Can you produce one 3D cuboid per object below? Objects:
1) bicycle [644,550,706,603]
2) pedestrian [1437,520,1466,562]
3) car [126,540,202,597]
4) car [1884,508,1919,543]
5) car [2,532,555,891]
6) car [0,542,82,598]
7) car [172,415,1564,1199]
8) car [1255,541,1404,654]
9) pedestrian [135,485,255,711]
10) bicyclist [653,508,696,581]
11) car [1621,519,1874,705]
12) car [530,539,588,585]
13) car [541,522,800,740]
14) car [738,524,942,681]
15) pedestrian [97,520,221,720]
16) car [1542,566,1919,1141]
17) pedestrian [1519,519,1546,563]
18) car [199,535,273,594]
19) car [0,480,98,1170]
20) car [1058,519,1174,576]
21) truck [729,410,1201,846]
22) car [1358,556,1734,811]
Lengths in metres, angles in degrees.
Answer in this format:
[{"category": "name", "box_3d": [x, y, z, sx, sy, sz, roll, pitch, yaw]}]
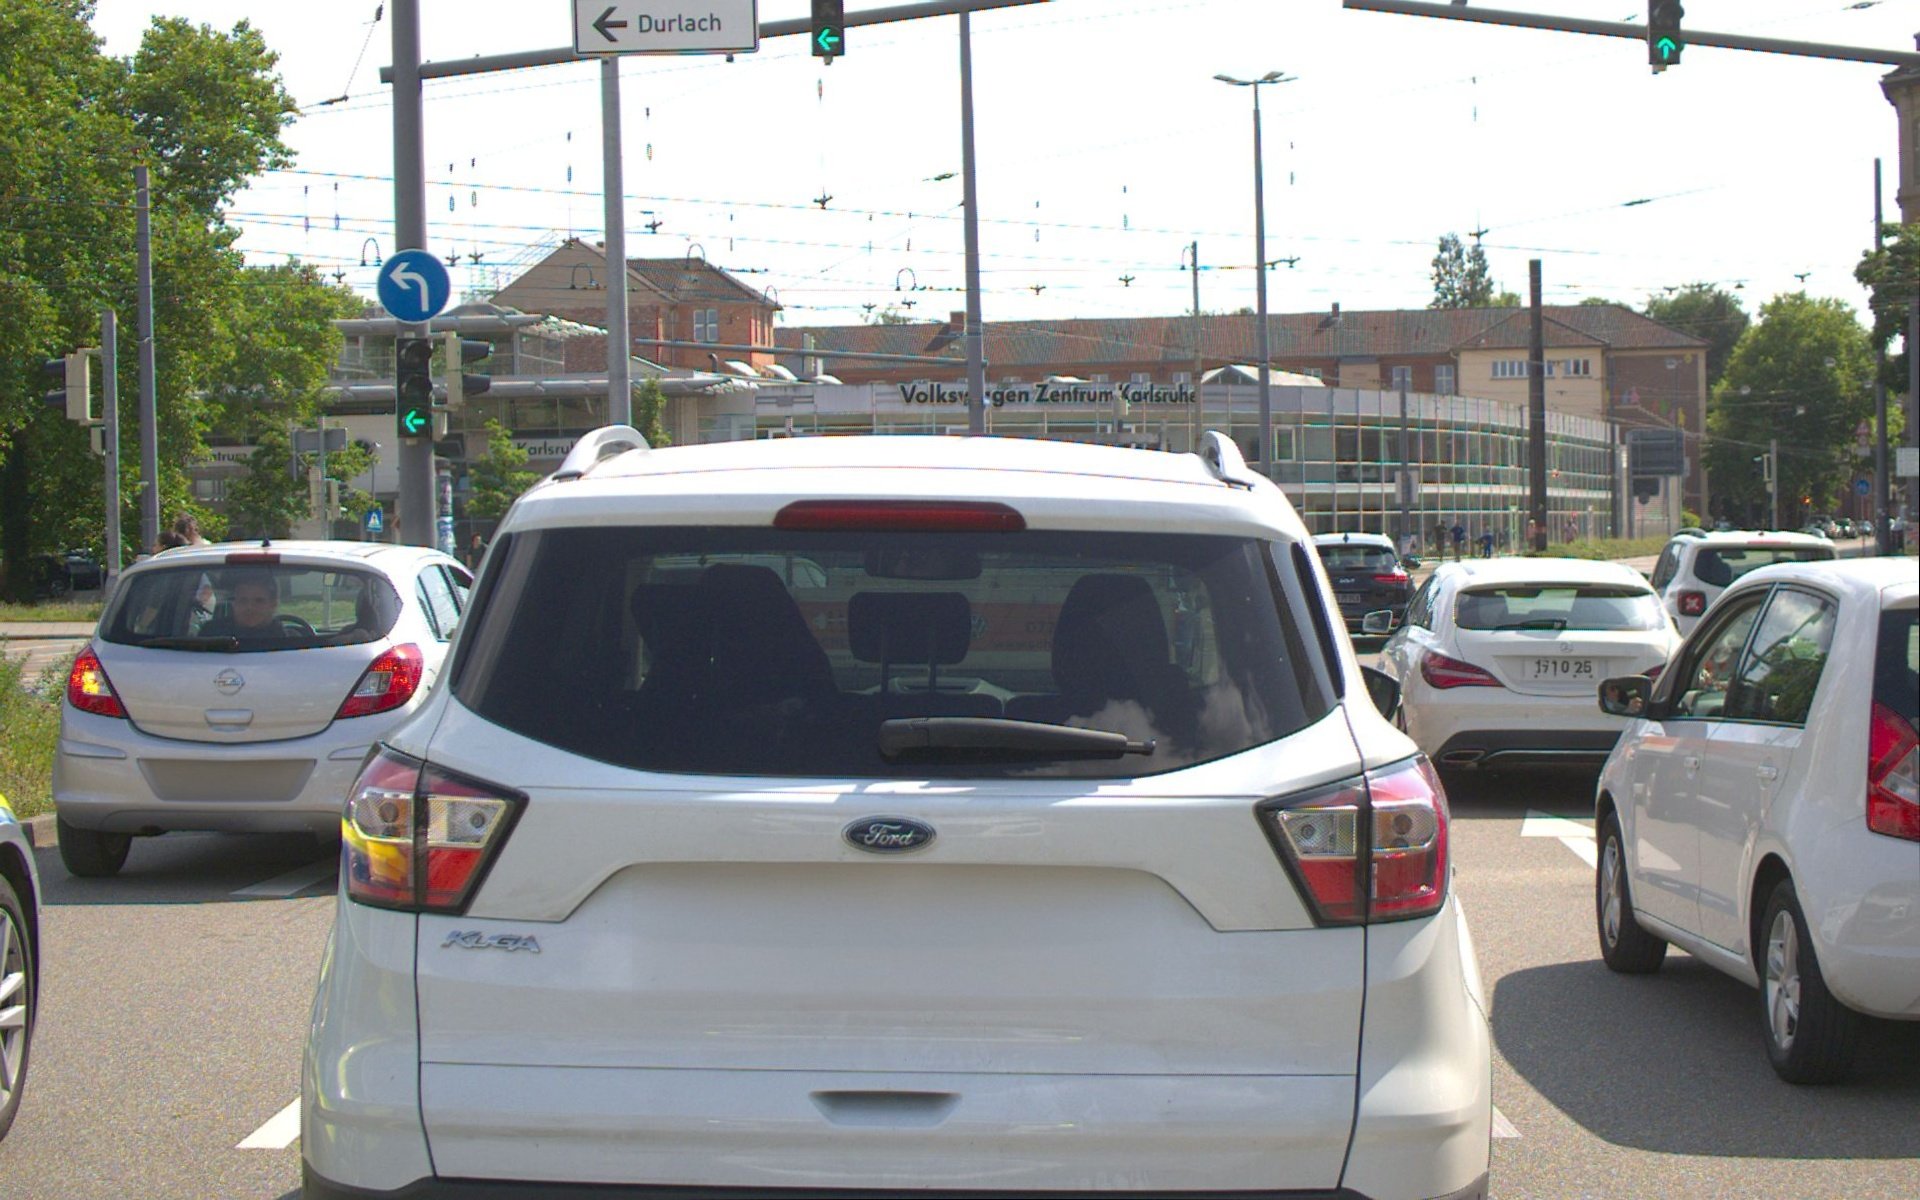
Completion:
[{"category": "bicycle", "box_3d": [-6.663, -0.561, 80.442, 0.760, 1.188, 2.149, -2, 1, 14]}, {"category": "pedestrian", "box_3d": [20.594, -2.472, 144.106, 0.877, 1.731, 0.874, 1, 0, 35]}, {"category": "car", "box_3d": [-28.667, -1.122, 123.879, 1.967, 1.930, 4.231, -3, 0, -5]}, {"category": "car", "box_3d": [46.539, -3.650, 168.953, 1.838, 1.646, 3.996, 0, 0, 20]}, {"category": "car", "box_3d": [-3.069, 0.431, 16.291, 1.848, 1.469, 4.000, -1, 1, -1]}, {"category": "car", "box_3d": [-33.333, -1.065, 124.116, 1.967, 1.930, 5.069, -3, 0, -1]}, {"category": "car", "box_3d": [-0.028, 0.560, 6.490, 1.827, 1.658, 3.955, 0, 1, 3]}, {"category": "car", "box_3d": [4.840, -0.063, 44.884, 1.850, 1.414, 3.678, 0, 1, 7]}, {"category": "pedestrian", "box_3d": [-6.598, -0.018, 29.671, 0.847, 1.910, 0.692, -1, 0, -1]}, {"category": "bicyclist", "box_3d": [-6.681, -1.303, 80.499, 0.760, 1.677, 0.760, -2, 1, 14]}, {"category": "car", "box_3d": [7.340, 0.089, 32.381, 1.837, 1.646, 3.999, 0, 0, 6]}, {"category": "car", "box_3d": [-14.216, -1.332, 121.971, 1.818, 1.528, 3.917, -3, 0, -5]}, {"category": "car", "box_3d": [-2.209, 0.193, 27.233, 1.762, 1.563, 4.527, -1, 1, -1]}, {"category": "car", "box_3d": [-1.293, -0.011, 36.635, 2.039, 1.573, 4.540, 0, 1, -2]}, {"category": "pedestrian", "box_3d": [-6.734, 0.162, 28.924, 0.847, 1.642, 0.692, -1, 0, -1]}, {"category": "car", "box_3d": [3.042, 0.638, 10.920, 1.649, 1.417, 4.000, -1, 1, -1]}, {"category": "pedestrian", "box_3d": [25.039, -2.595, 150.435, 0.877, 1.915, 0.874, 1, 0, 33]}, {"category": "car", "box_3d": [-26.008, -1.250, 123.622, 1.993, 2.007, 4.231, -3, 0, -5]}, {"category": "car", "box_3d": [-3.114, 0.551, 6.375, 1.880, 1.563, 4.615, -1, 1, 0]}, {"category": "car", "box_3d": [4.280, -1.453, 93.665, 1.901, 1.456, 3.964, -2, 1, 22]}, {"category": "truck", "box_3d": [0.118, 0.090, 20.093, 2.339, 2.148, 5.852, 1, 1, 2]}, {"category": "car", "box_3d": [3.483, 0.444, 21.041, 1.850, 1.414, 3.679, 0, 1, 3]}]
